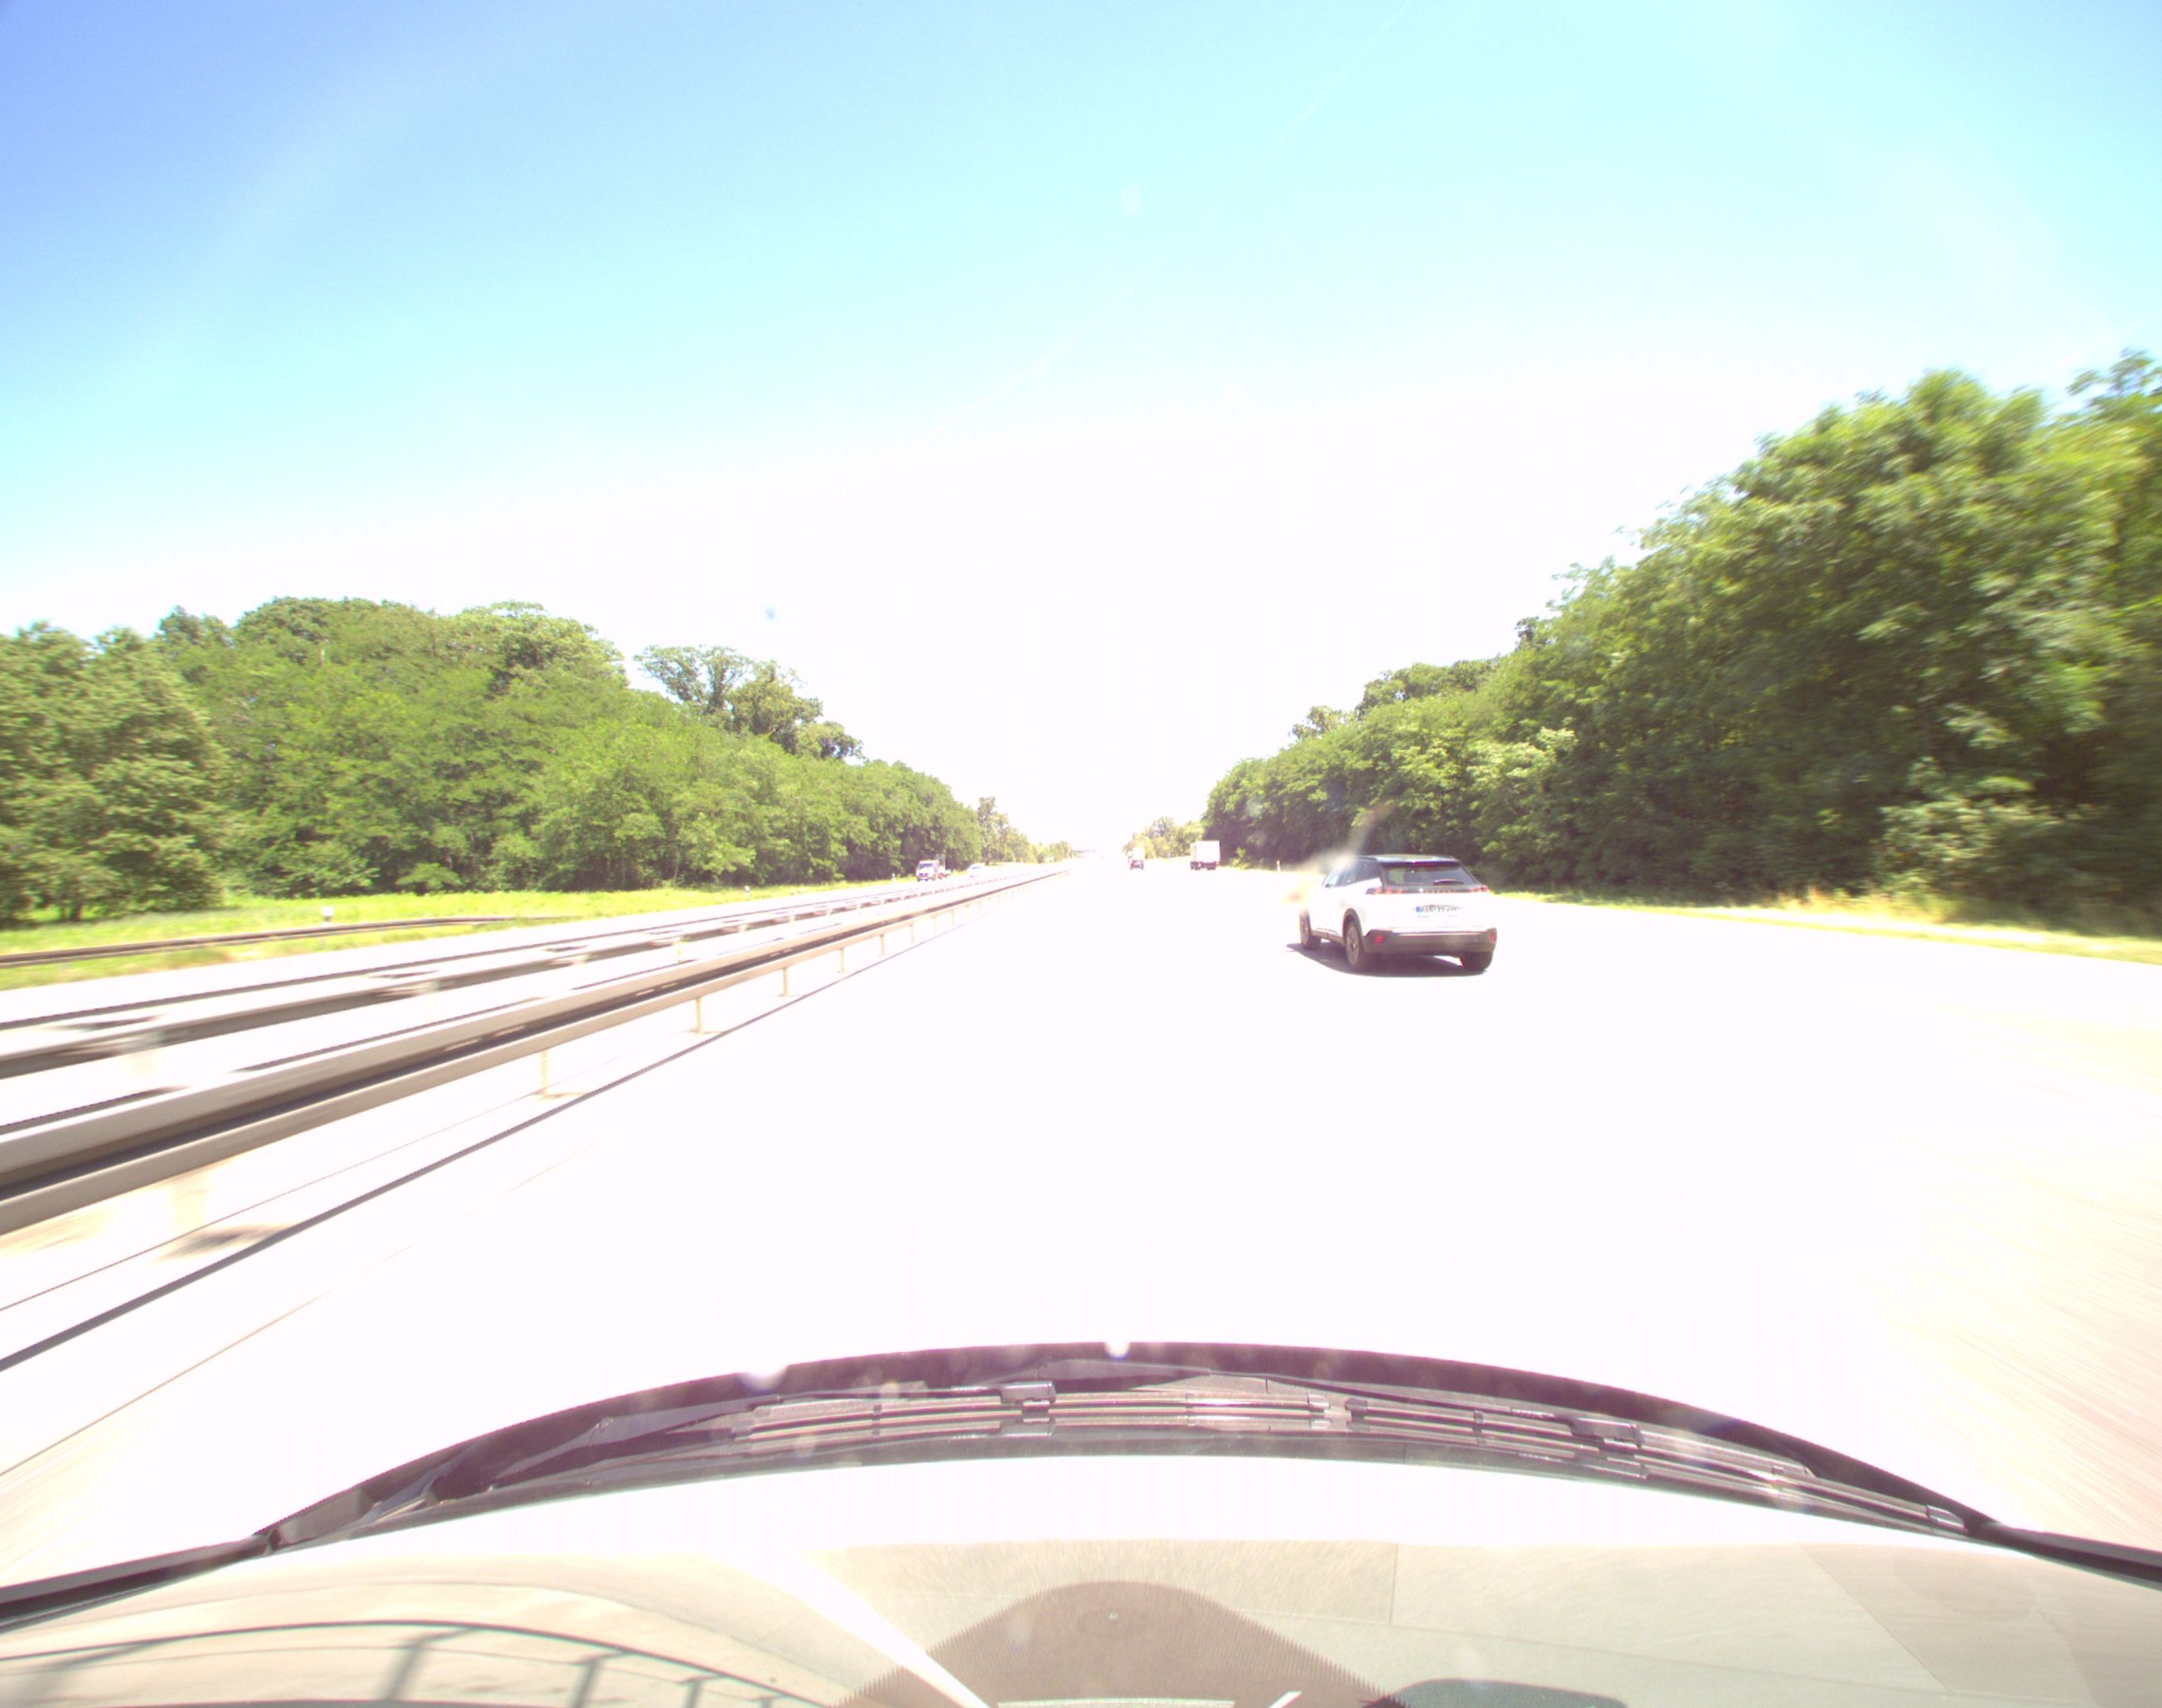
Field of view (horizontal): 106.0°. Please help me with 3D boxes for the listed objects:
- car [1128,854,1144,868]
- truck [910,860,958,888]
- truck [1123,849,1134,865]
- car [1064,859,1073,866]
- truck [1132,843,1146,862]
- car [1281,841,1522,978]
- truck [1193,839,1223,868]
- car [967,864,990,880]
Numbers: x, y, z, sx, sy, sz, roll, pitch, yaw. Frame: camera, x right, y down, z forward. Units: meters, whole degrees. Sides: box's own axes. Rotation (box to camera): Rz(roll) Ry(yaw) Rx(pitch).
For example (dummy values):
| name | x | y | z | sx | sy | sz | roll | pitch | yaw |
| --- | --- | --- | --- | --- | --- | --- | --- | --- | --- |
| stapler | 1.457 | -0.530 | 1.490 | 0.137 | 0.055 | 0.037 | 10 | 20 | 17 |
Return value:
| name | x | y | z | sx | sy | sz | roll | pitch | yaw |
| --- | --- | --- | --- | --- | --- | --- | --- | --- | --- |
| car | 7.120 | 0.893 | 105.496 | 1.820 | 1.706 | 4.001 | -1 | 0 | 2 |
| truck | -17.160 | 2.255 | 96.200 | 2.743 | 2.990 | 12.860 | -3 | 0 | 2 |
| truck | 14.944 | 0.883 | 257.043 | 3.353 | 4.881 | 15.096 | -1 | 0 | 3 |
| car | -2.963 | 2.033 | 195.927 | 1.986 | 1.706 | 5.267 | -1 | 1 | 2 |
| truck | 15.197 | -0.380 | 214.202 | 3.363 | 4.881 | 15.096 | -1 | 0 | 3 |
| car | 4.433 | 0.687 | 12.175 | 1.820 | 1.608 | 4.810 | -1 | 0 | 2 |
| truck | 15.422 | -0.059 | 99.592 | 3.013 | 3.319 | 10.789 | -1 | 0 | 6 |
| car | -10.568 | 1.828 | 83.955 | 1.682 | 1.544 | 4.206 | -1 | 0 | 2 |
